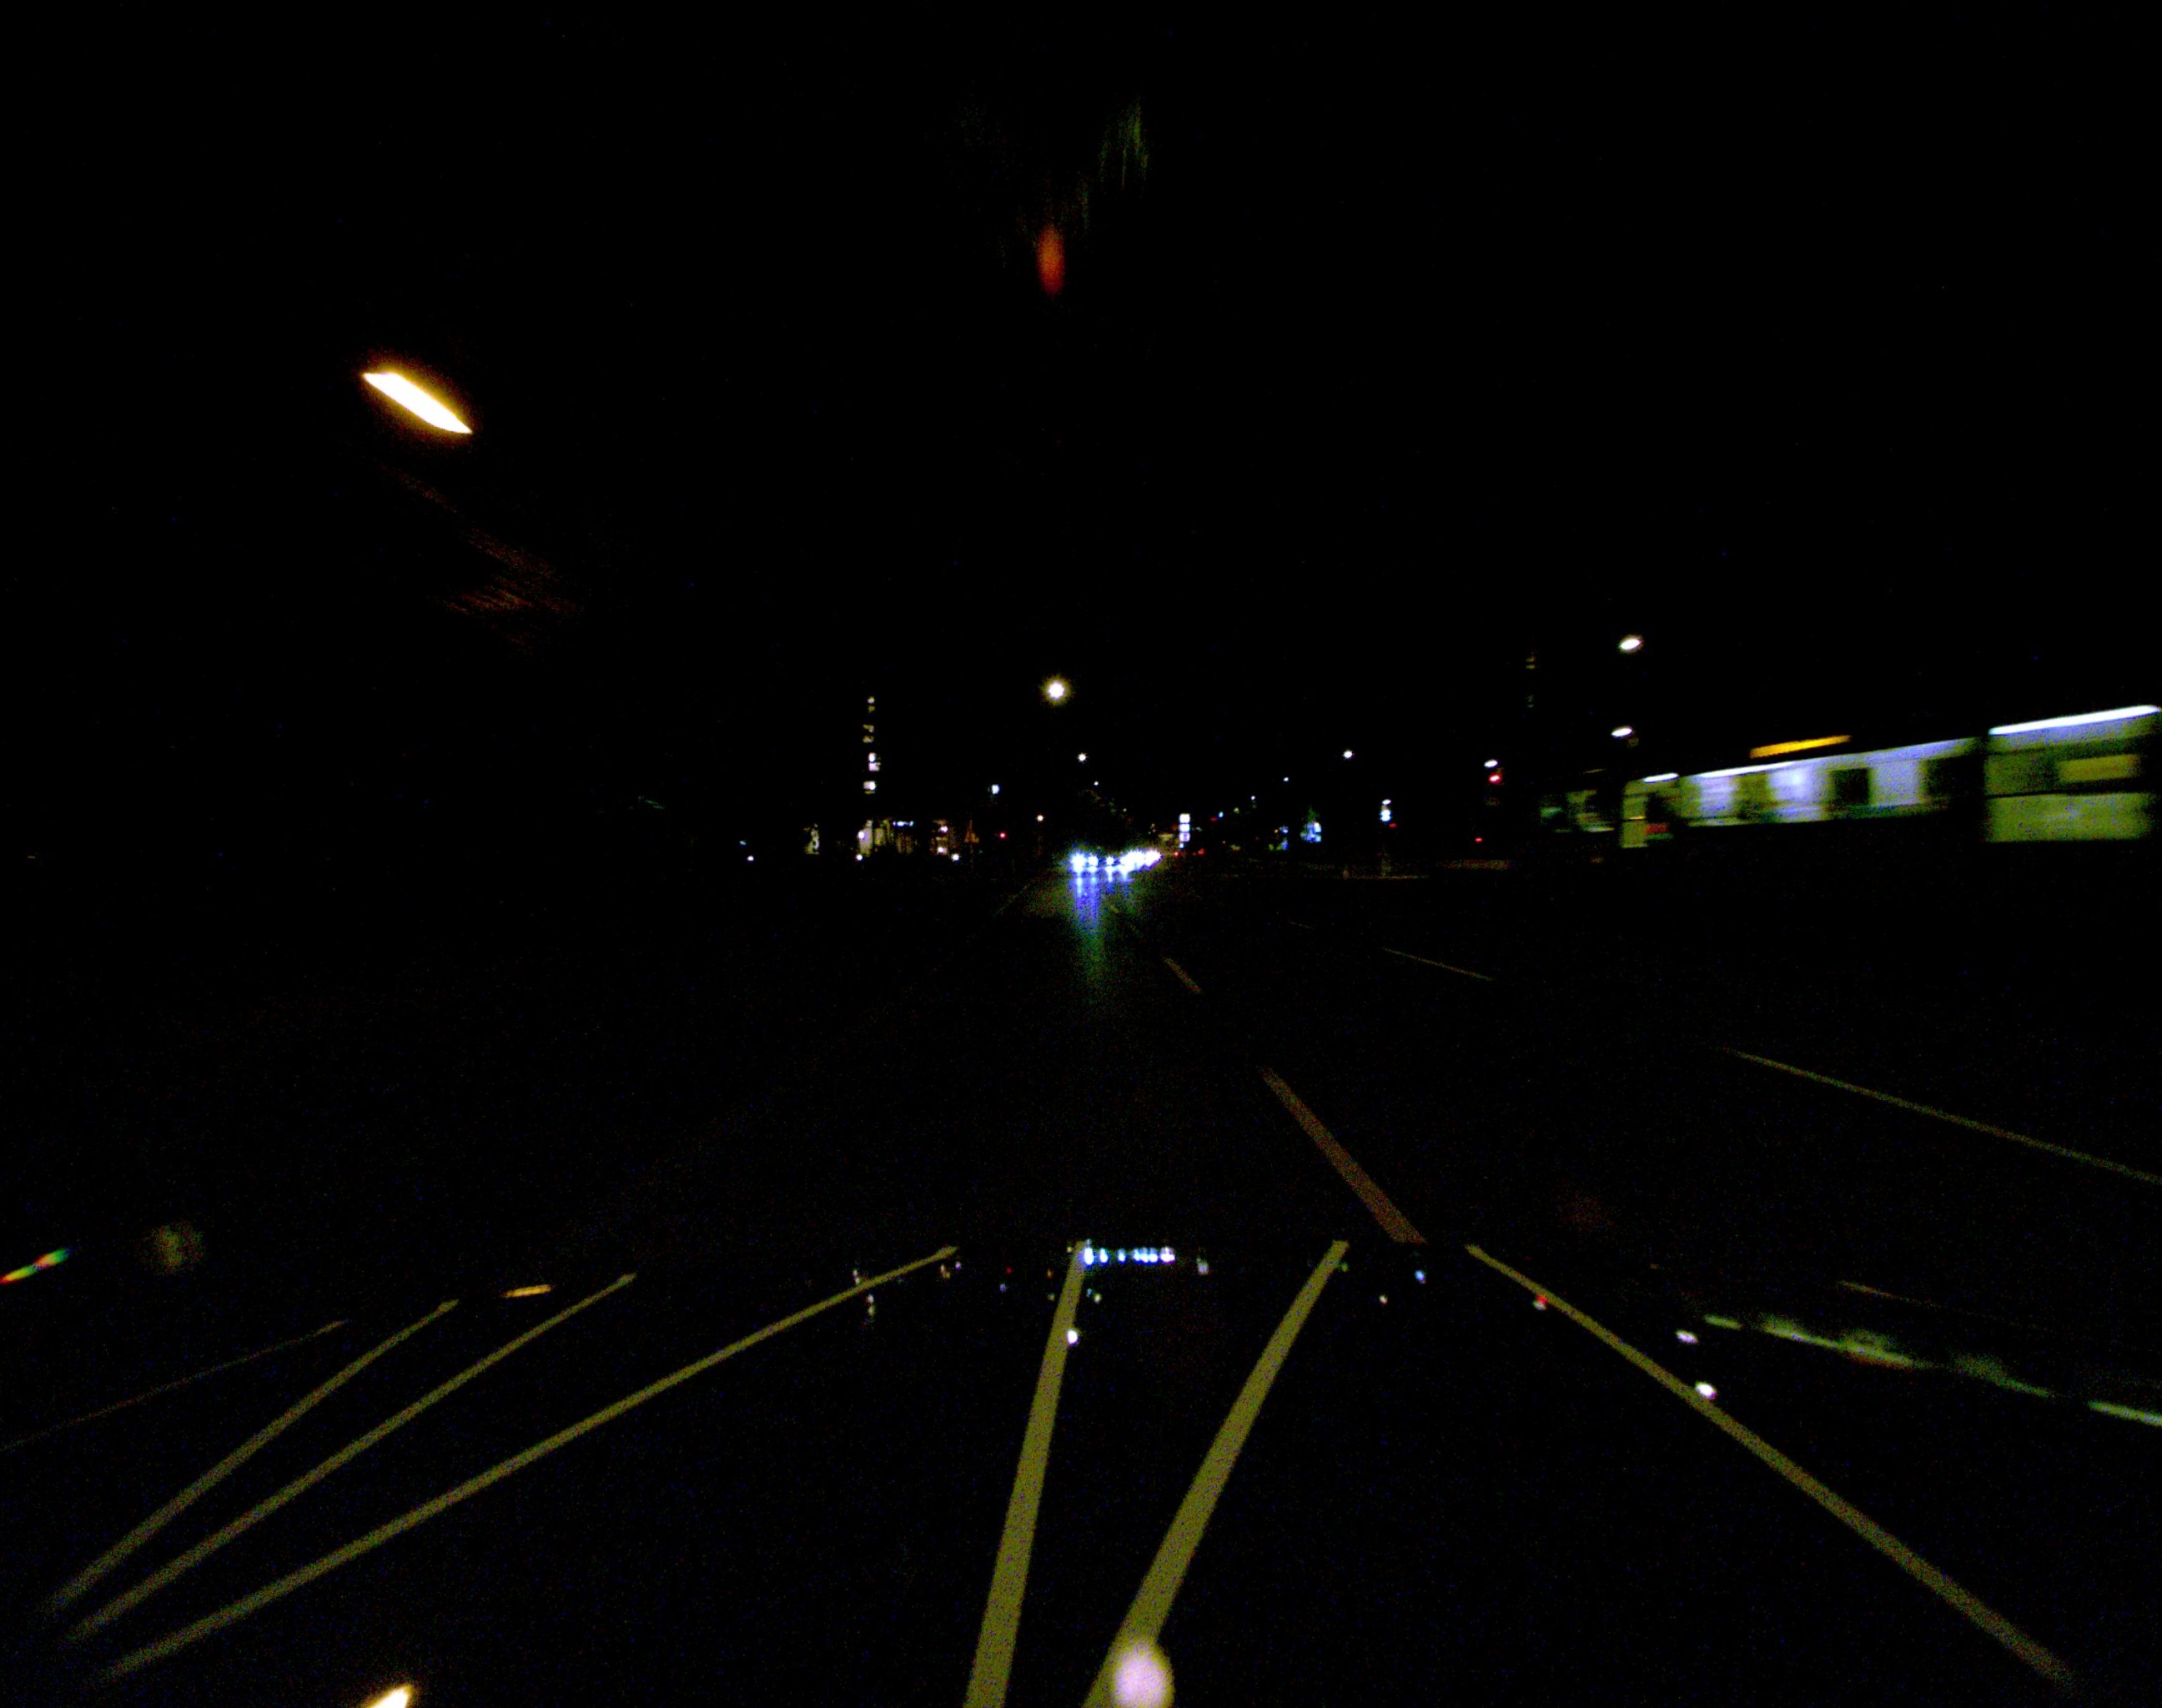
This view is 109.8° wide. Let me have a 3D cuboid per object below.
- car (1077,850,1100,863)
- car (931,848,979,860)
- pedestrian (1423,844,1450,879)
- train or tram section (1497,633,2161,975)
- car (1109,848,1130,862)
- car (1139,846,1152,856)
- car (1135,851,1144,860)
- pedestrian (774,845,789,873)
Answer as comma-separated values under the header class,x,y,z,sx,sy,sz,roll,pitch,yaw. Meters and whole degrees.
class,x,y,z,sx,sy,sz,roll,pitch,yaw
car,0.784,0.235,80.369,1.947,1.299,3.907,1,1,7
car,-11.184,-0.012,67.537,4.008,1.028,1.480,1,-1,-40
pedestrian,17.302,0.344,36.984,0.820,1.678,1.056,1,1,2
train or tram section,13.655,-0.622,13.322,2.745,3.824,19.364,-1,0,2
car,4.050,0.104,79.986,1.858,1.482,3.561,-1,0,7
car,10.883,-0.565,128.413,1.907,1.609,3.718,-1,1,2
car,12.540,0.307,163.308,1.827,1.696,4.001,-1,1,5
pedestrian,-20.128,0.335,51.027,0.664,1.866,0.731,-1,1,-1
